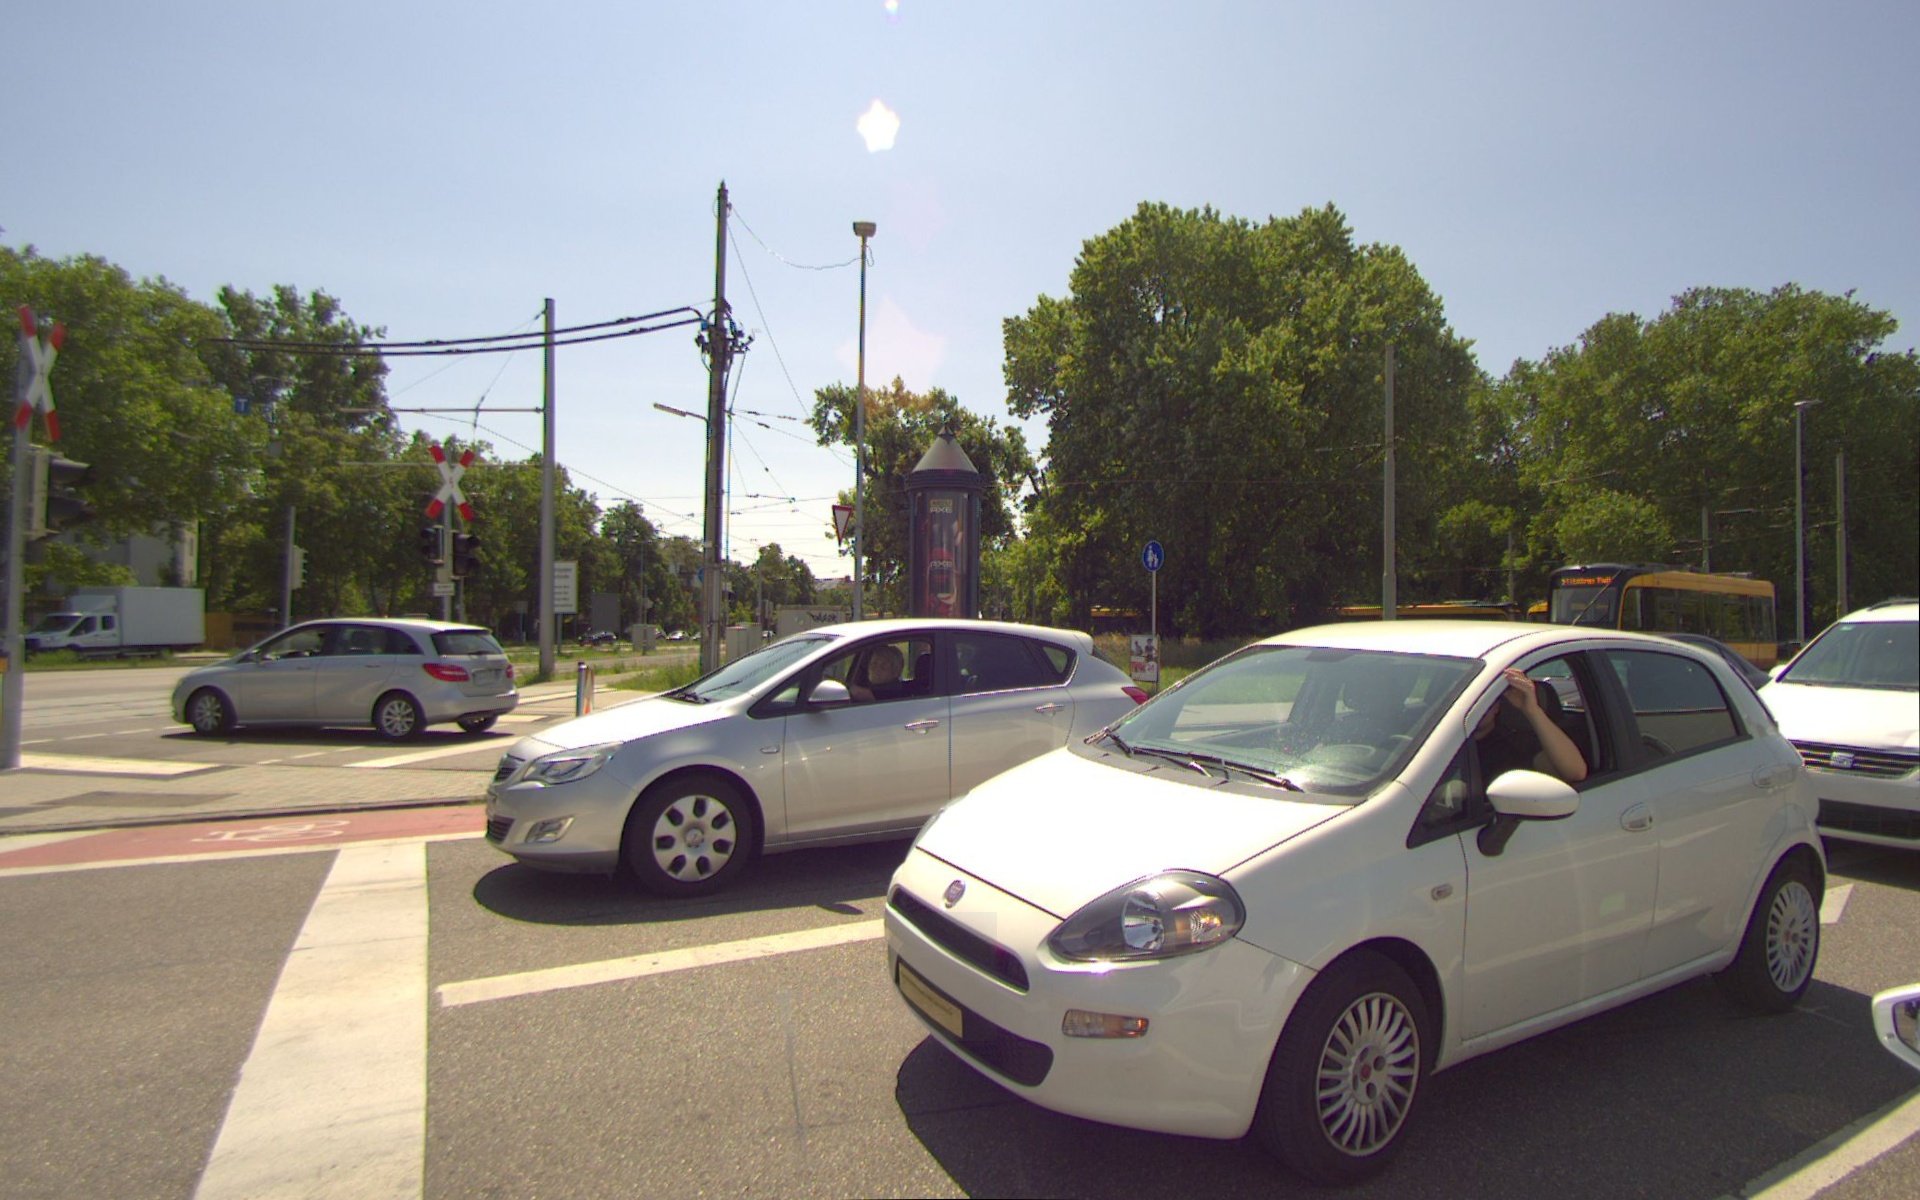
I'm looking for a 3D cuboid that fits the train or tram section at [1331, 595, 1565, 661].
[{"bbox_3d":[30.958,1.983,64.903,2.993,3.808,14.070,1,-3,-33],"label":"train or tram section"}]

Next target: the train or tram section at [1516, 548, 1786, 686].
[{"bbox_3d":[22.834,0.652,32.730,12.866,3.808,2.997,1,-3,-36],"label":"train or tram section"}]

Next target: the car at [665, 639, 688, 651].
[{"bbox_3d":[-31.891,5.042,113.076,1.573,1.303,3.646,-2,-2,0],"label":"car"}]

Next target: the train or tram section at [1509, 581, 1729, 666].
[{"bbox_3d":[33.735,1.387,52.614,2.965,3.808,14.058,-1,-3,3],"label":"train or tram section"}]

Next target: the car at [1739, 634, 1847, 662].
[{"bbox_3d":[45.222,2.579,54.640,1.641,1.435,4.294,2,-3,-20],"label":"car"}]

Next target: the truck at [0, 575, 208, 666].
[{"bbox_3d":[-37.653,0.939,44.544,2.537,3.579,7.715,-2,-2,2],"label":"truck"}]

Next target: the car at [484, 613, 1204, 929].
[{"bbox_3d":[-0.649,0.873,6.583,4.360,1.475,1.783,1,-2,-30],"label":"car"}]

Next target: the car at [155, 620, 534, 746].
[{"bbox_3d":[-8.187,1.073,13.559,4.171,1.566,1.748,-1,-1,7],"label":"car"}]

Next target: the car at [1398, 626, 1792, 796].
[{"bbox_3d":[6.718,1.021,10.534,4.235,1.476,1.752,1,-2,-30],"label":"car"}]

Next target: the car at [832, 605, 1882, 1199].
[{"bbox_3d":[1.660,0.786,3.894,3.915,1.457,1.759,1,-1,-30],"label":"car"}]

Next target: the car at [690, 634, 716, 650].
[{"bbox_3d":[-31.290,5.122,122.542,1.960,1.754,4.002,-2,-2,3],"label":"car"}]

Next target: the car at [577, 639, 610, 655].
[{"bbox_3d":[-32.147,4.108,88.166,1.573,1.303,3.646,-2,-2,0],"label":"car"}]

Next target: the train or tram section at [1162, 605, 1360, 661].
[{"bbox_3d":[22.122,2.566,74.811,13.976,3.808,3.013,-3,-3,39],"label":"train or tram section"}]

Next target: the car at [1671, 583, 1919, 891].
[{"bbox_3d":[7.344,0.818,7.222,4.772,1.746,1.804,1,-1,-29],"label":"car"}]

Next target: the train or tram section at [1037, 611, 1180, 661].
[{"bbox_3d":[12.014,2.992,82.025,11.246,3.808,3.019,-2,-3,33],"label":"train or tram section"}]

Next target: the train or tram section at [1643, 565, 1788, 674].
[{"bbox_3d":[30.456,0.934,41.069,2.972,3.808,11.600,-2,-3,29],"label":"train or tram section"}]
